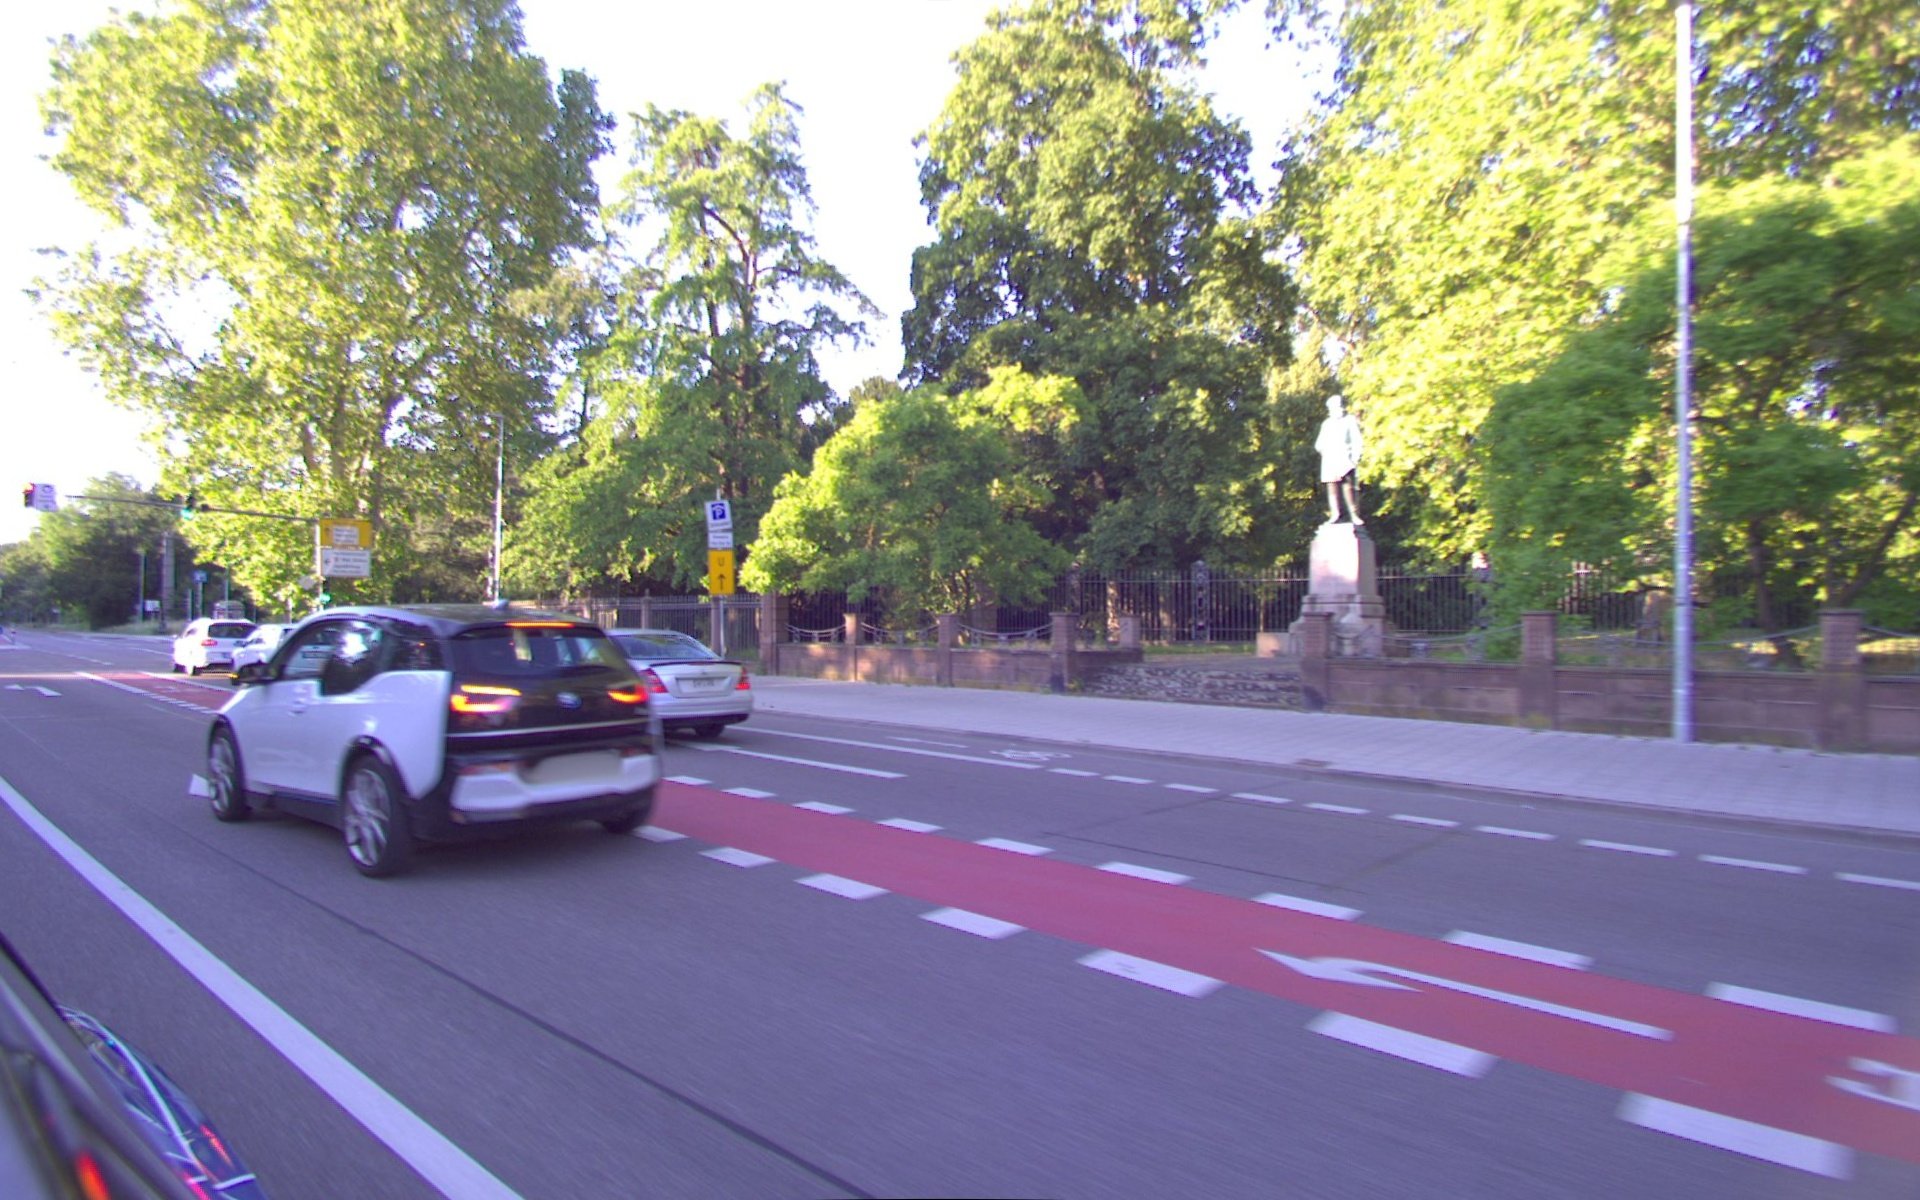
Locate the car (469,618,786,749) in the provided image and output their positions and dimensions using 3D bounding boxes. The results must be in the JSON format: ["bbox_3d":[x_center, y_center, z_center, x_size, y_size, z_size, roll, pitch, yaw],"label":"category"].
[{"bbox_3d":[-4.544,0.996,13.417,4.769,1.429,1.895,-2,-3,43],"label":"car"}]

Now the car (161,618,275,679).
[{"bbox_3d":[-22.311,1.429,30.386,4.426,1.708,1.895,-2,-3,43],"label":"car"}]

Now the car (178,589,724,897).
[{"bbox_3d":[-3.664,0.782,7.039,3.994,1.538,1.831,-1,-3,38],"label":"car"}]

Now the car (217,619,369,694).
[{"bbox_3d":[-15.910,1.298,24.047,4.674,1.595,1.895,-2,-3,43],"label":"car"}]

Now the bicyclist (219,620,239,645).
[{"bbox_3d":[-41.438,1.843,57.369,0.780,1.438,0.893,1,-2,-44],"label":"bicyclist"}]

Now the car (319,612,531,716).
[{"bbox_3d":[-9.684,1.085,18.162,4.638,1.637,1.895,-2,-3,43],"label":"car"}]
